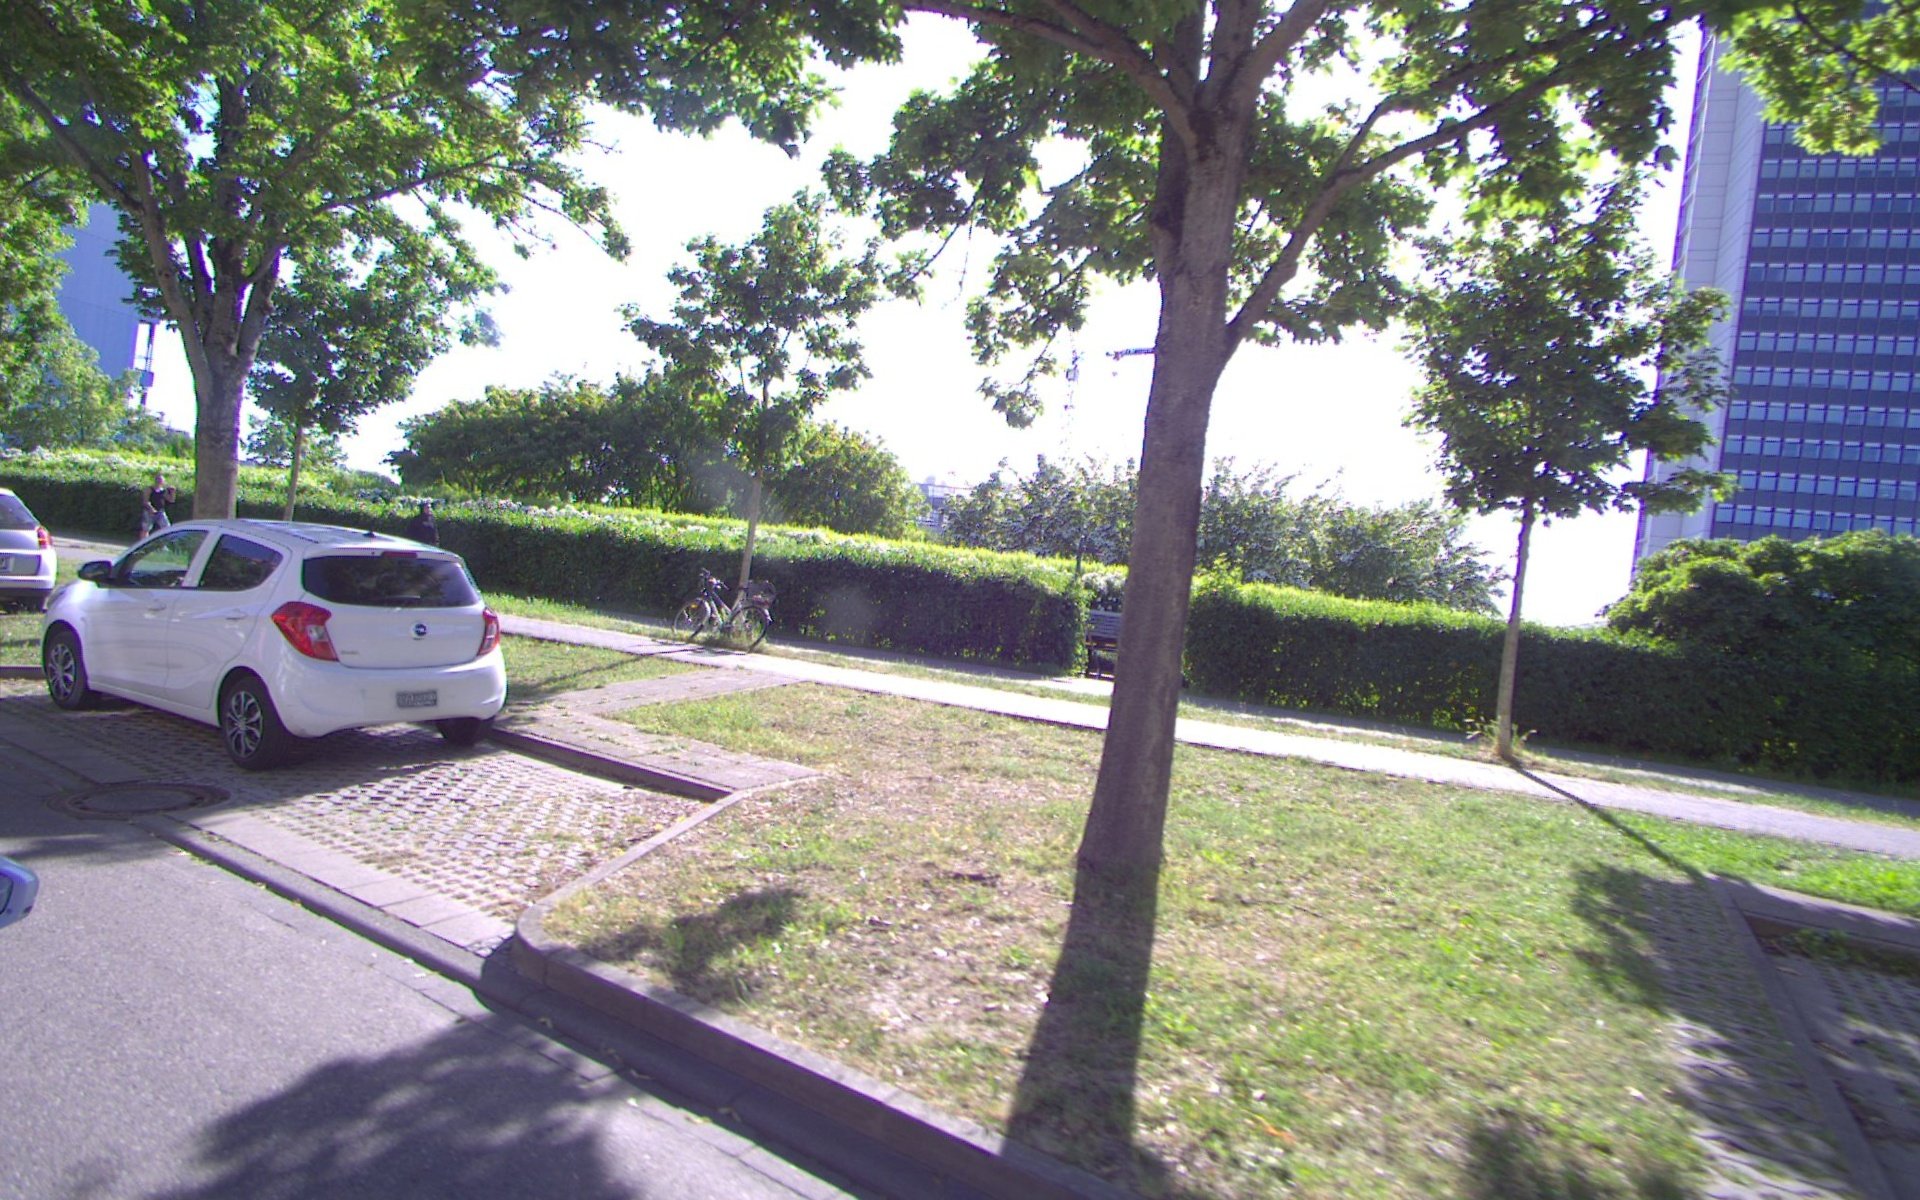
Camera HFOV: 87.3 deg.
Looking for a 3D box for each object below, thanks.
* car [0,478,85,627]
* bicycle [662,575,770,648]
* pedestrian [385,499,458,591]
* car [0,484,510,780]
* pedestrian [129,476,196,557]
[{"bbox_3d":[-12.005,-0.733,11.017,4.539,1.513,1.812,7,2,23],"label":"car"},{"bbox_3d":[-3.474,0.158,14.326,1.382,0.878,0.347,7,2,8],"label":"bicycle"},{"bbox_3d":[-10.267,-1.036,19.190,0.837,1.608,0.725,7,1,22],"label":"pedestrian"},{"bbox_3d":[-5.296,0.106,7.359,3.699,1.513,1.645,7,3,27],"label":"car"},{"bbox_3d":[-16.697,-1.739,21.055,0.920,1.561,0.608,7,1,22],"label":"pedestrian"}]
